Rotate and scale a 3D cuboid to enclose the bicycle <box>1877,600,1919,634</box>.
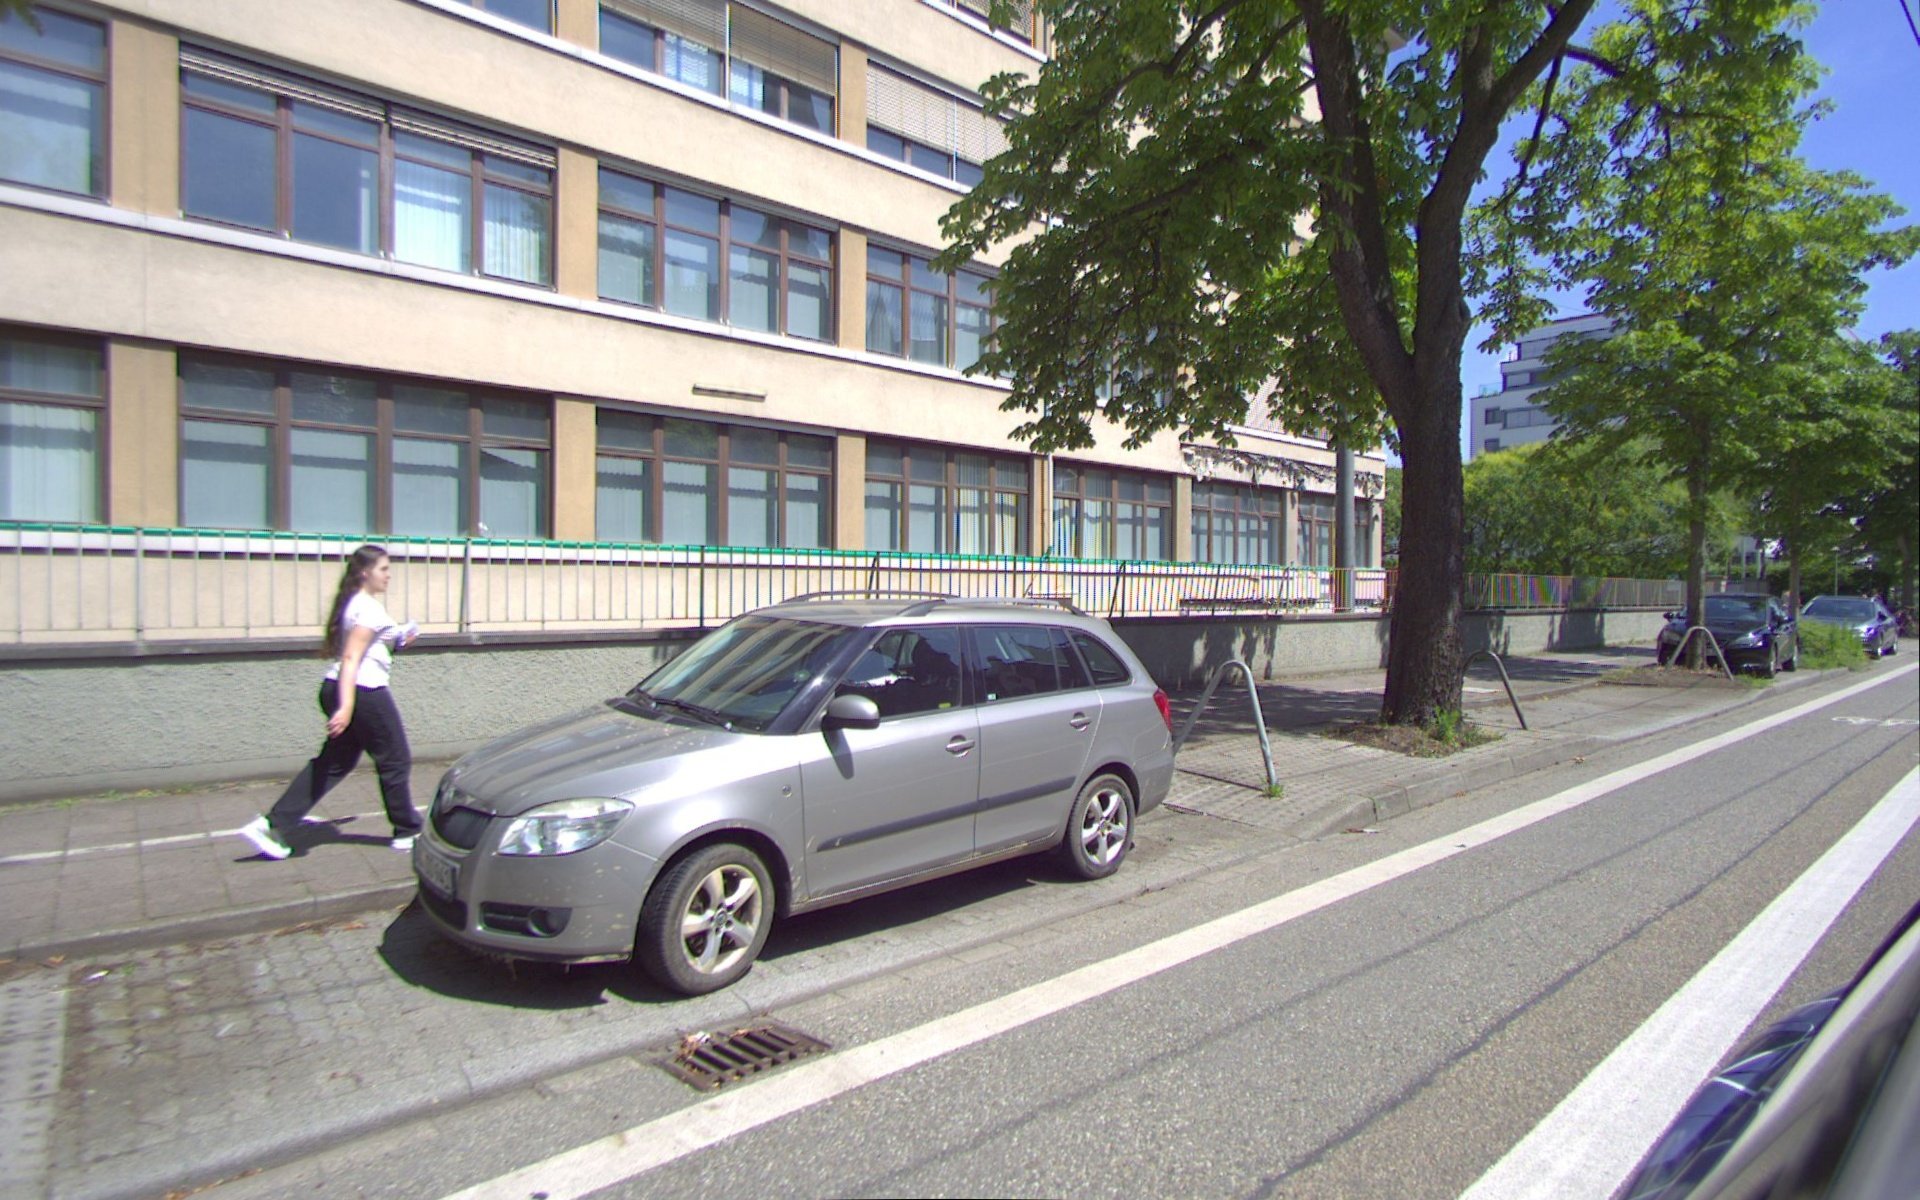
[{"bbox_3d":[31.335,0.552,33.364,0.552,1.073,1.588,0,0,-41],"label":"bicycle"}]

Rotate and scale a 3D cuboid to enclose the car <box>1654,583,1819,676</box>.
[{"bbox_3d":[14.083,0.460,18.286,3.912,1.508,1.674,0,1,-42],"label":"car"}]

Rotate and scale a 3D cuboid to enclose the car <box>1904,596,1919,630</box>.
[{"bbox_3d":[38.001,0.489,39.137,3.766,1.287,1.754,0,-1,-41],"label":"car"}]

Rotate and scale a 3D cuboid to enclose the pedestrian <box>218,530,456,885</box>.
[{"bbox_3d":[-3.193,0.472,5.182,0.903,1.608,0.801,0,2,-42],"label":"pedestrian"}]

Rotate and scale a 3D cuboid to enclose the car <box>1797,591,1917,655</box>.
[{"bbox_3d":[22.096,0.504,24.861,4.667,1.426,1.674,0,1,-42],"label":"car"}]

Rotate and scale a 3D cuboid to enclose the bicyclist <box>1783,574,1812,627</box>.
[{"bbox_3d":[26.587,0.013,32.121,0.589,1.668,0.581,0,2,-41],"label":"bicyclist"}]

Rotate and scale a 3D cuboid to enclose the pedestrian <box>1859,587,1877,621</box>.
[{"bbox_3d":[42.671,0.183,47.553,0.535,1.593,0.514,0,1,-40],"label":"pedestrian"}]

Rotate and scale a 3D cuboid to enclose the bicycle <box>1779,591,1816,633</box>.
[{"bbox_3d":[26.529,0.364,32.053,1.742,1.281,0.556,0,3,-41],"label":"bicycle"}]

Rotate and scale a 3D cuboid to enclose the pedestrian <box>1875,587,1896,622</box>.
[{"bbox_3d":[43.084,0.201,47.126,0.600,1.593,0.620,0,1,-40],"label":"pedestrian"}]

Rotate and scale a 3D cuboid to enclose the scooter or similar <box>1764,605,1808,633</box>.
[{"bbox_3d":[25.294,0.572,30.992,1.528,0.817,0.763,0,2,-41],"label":"scooter or similar"}]

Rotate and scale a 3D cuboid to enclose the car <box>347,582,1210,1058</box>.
[{"bbox_3d":[-0.581,0.684,5.335,4.293,1.518,1.672,0,1,-44],"label":"car"}]
